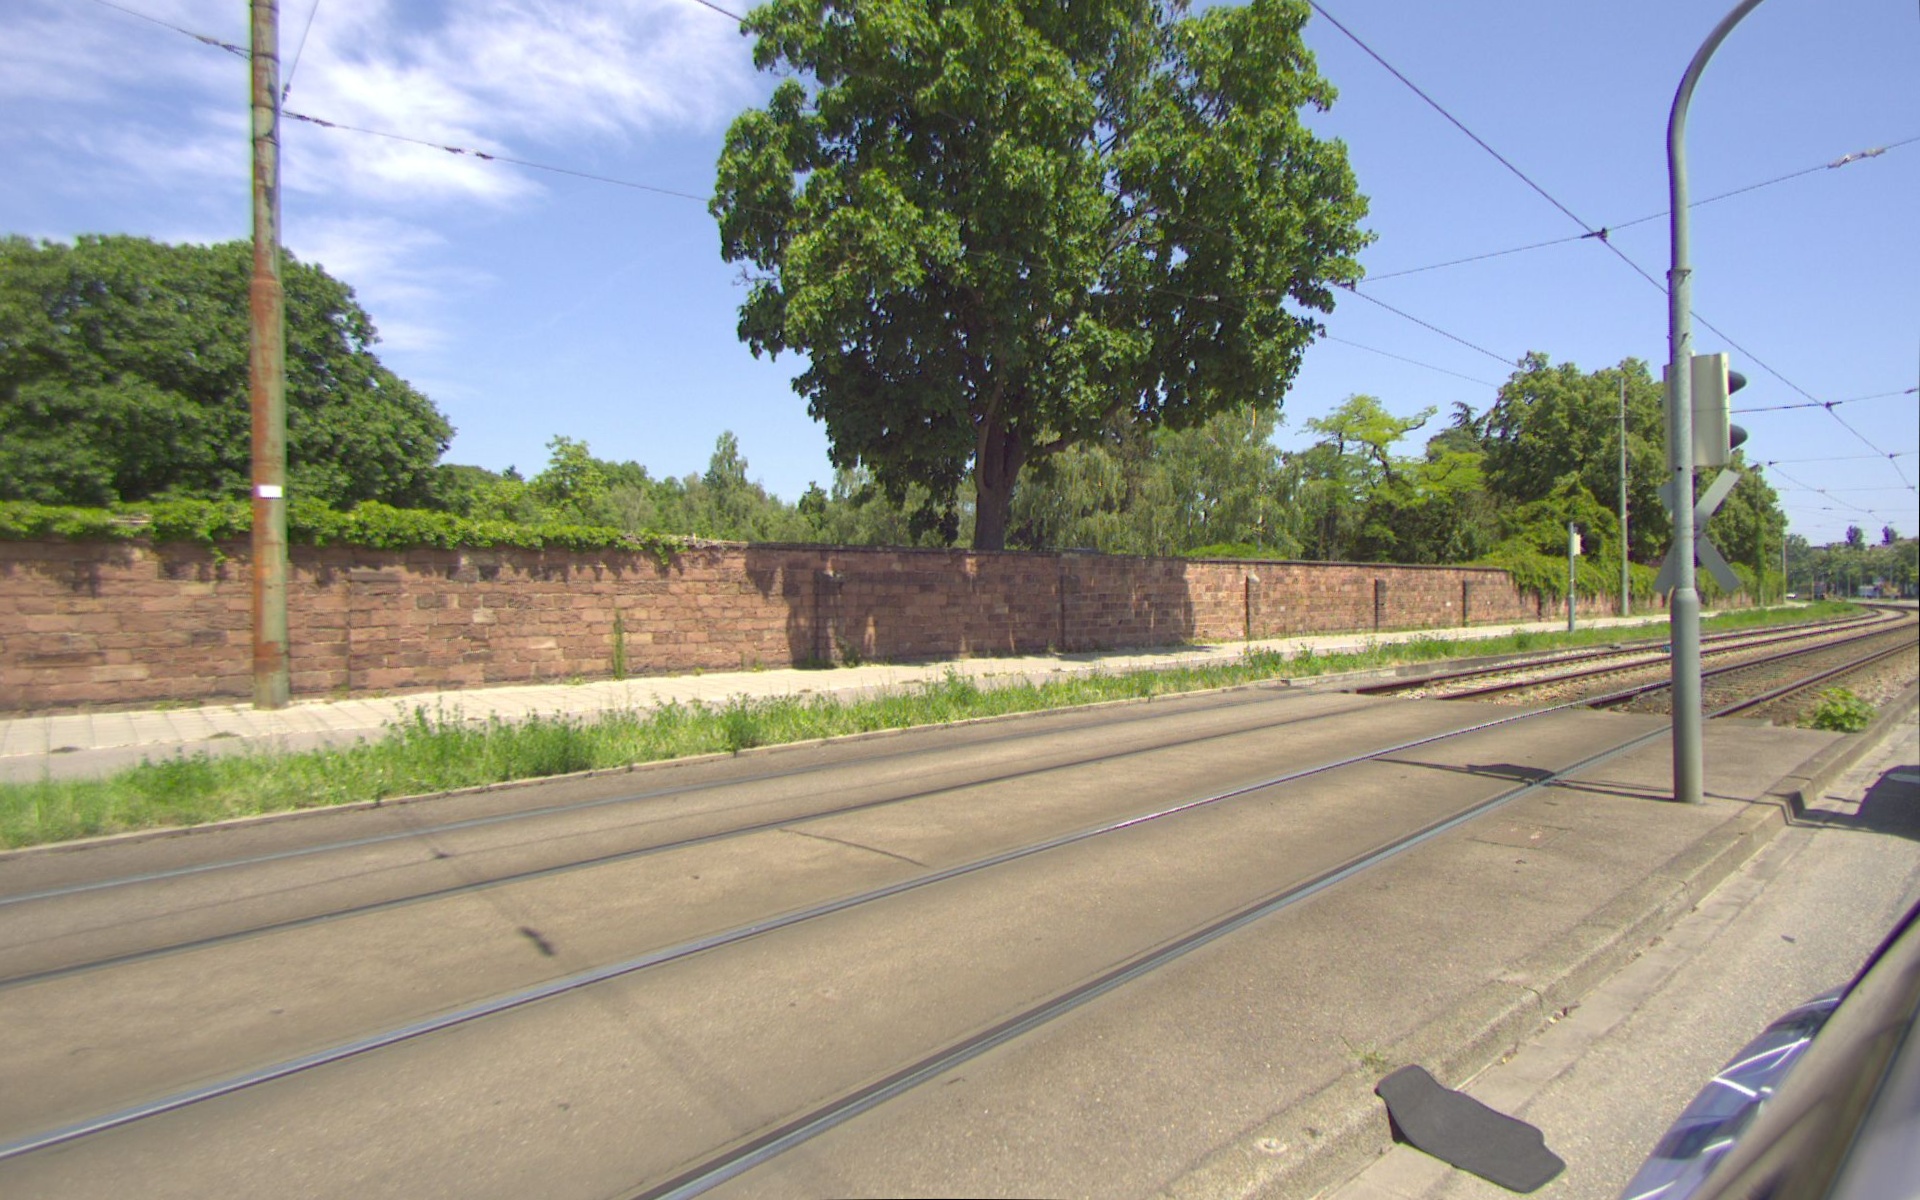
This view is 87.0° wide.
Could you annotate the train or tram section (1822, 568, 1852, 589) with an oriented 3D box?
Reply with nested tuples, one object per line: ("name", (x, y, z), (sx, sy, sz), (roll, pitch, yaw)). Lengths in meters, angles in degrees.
("train or tram section", (169.082, -4.190, 194.991), (14.024, 3.855, 2.809), (-2, 0, -43))
